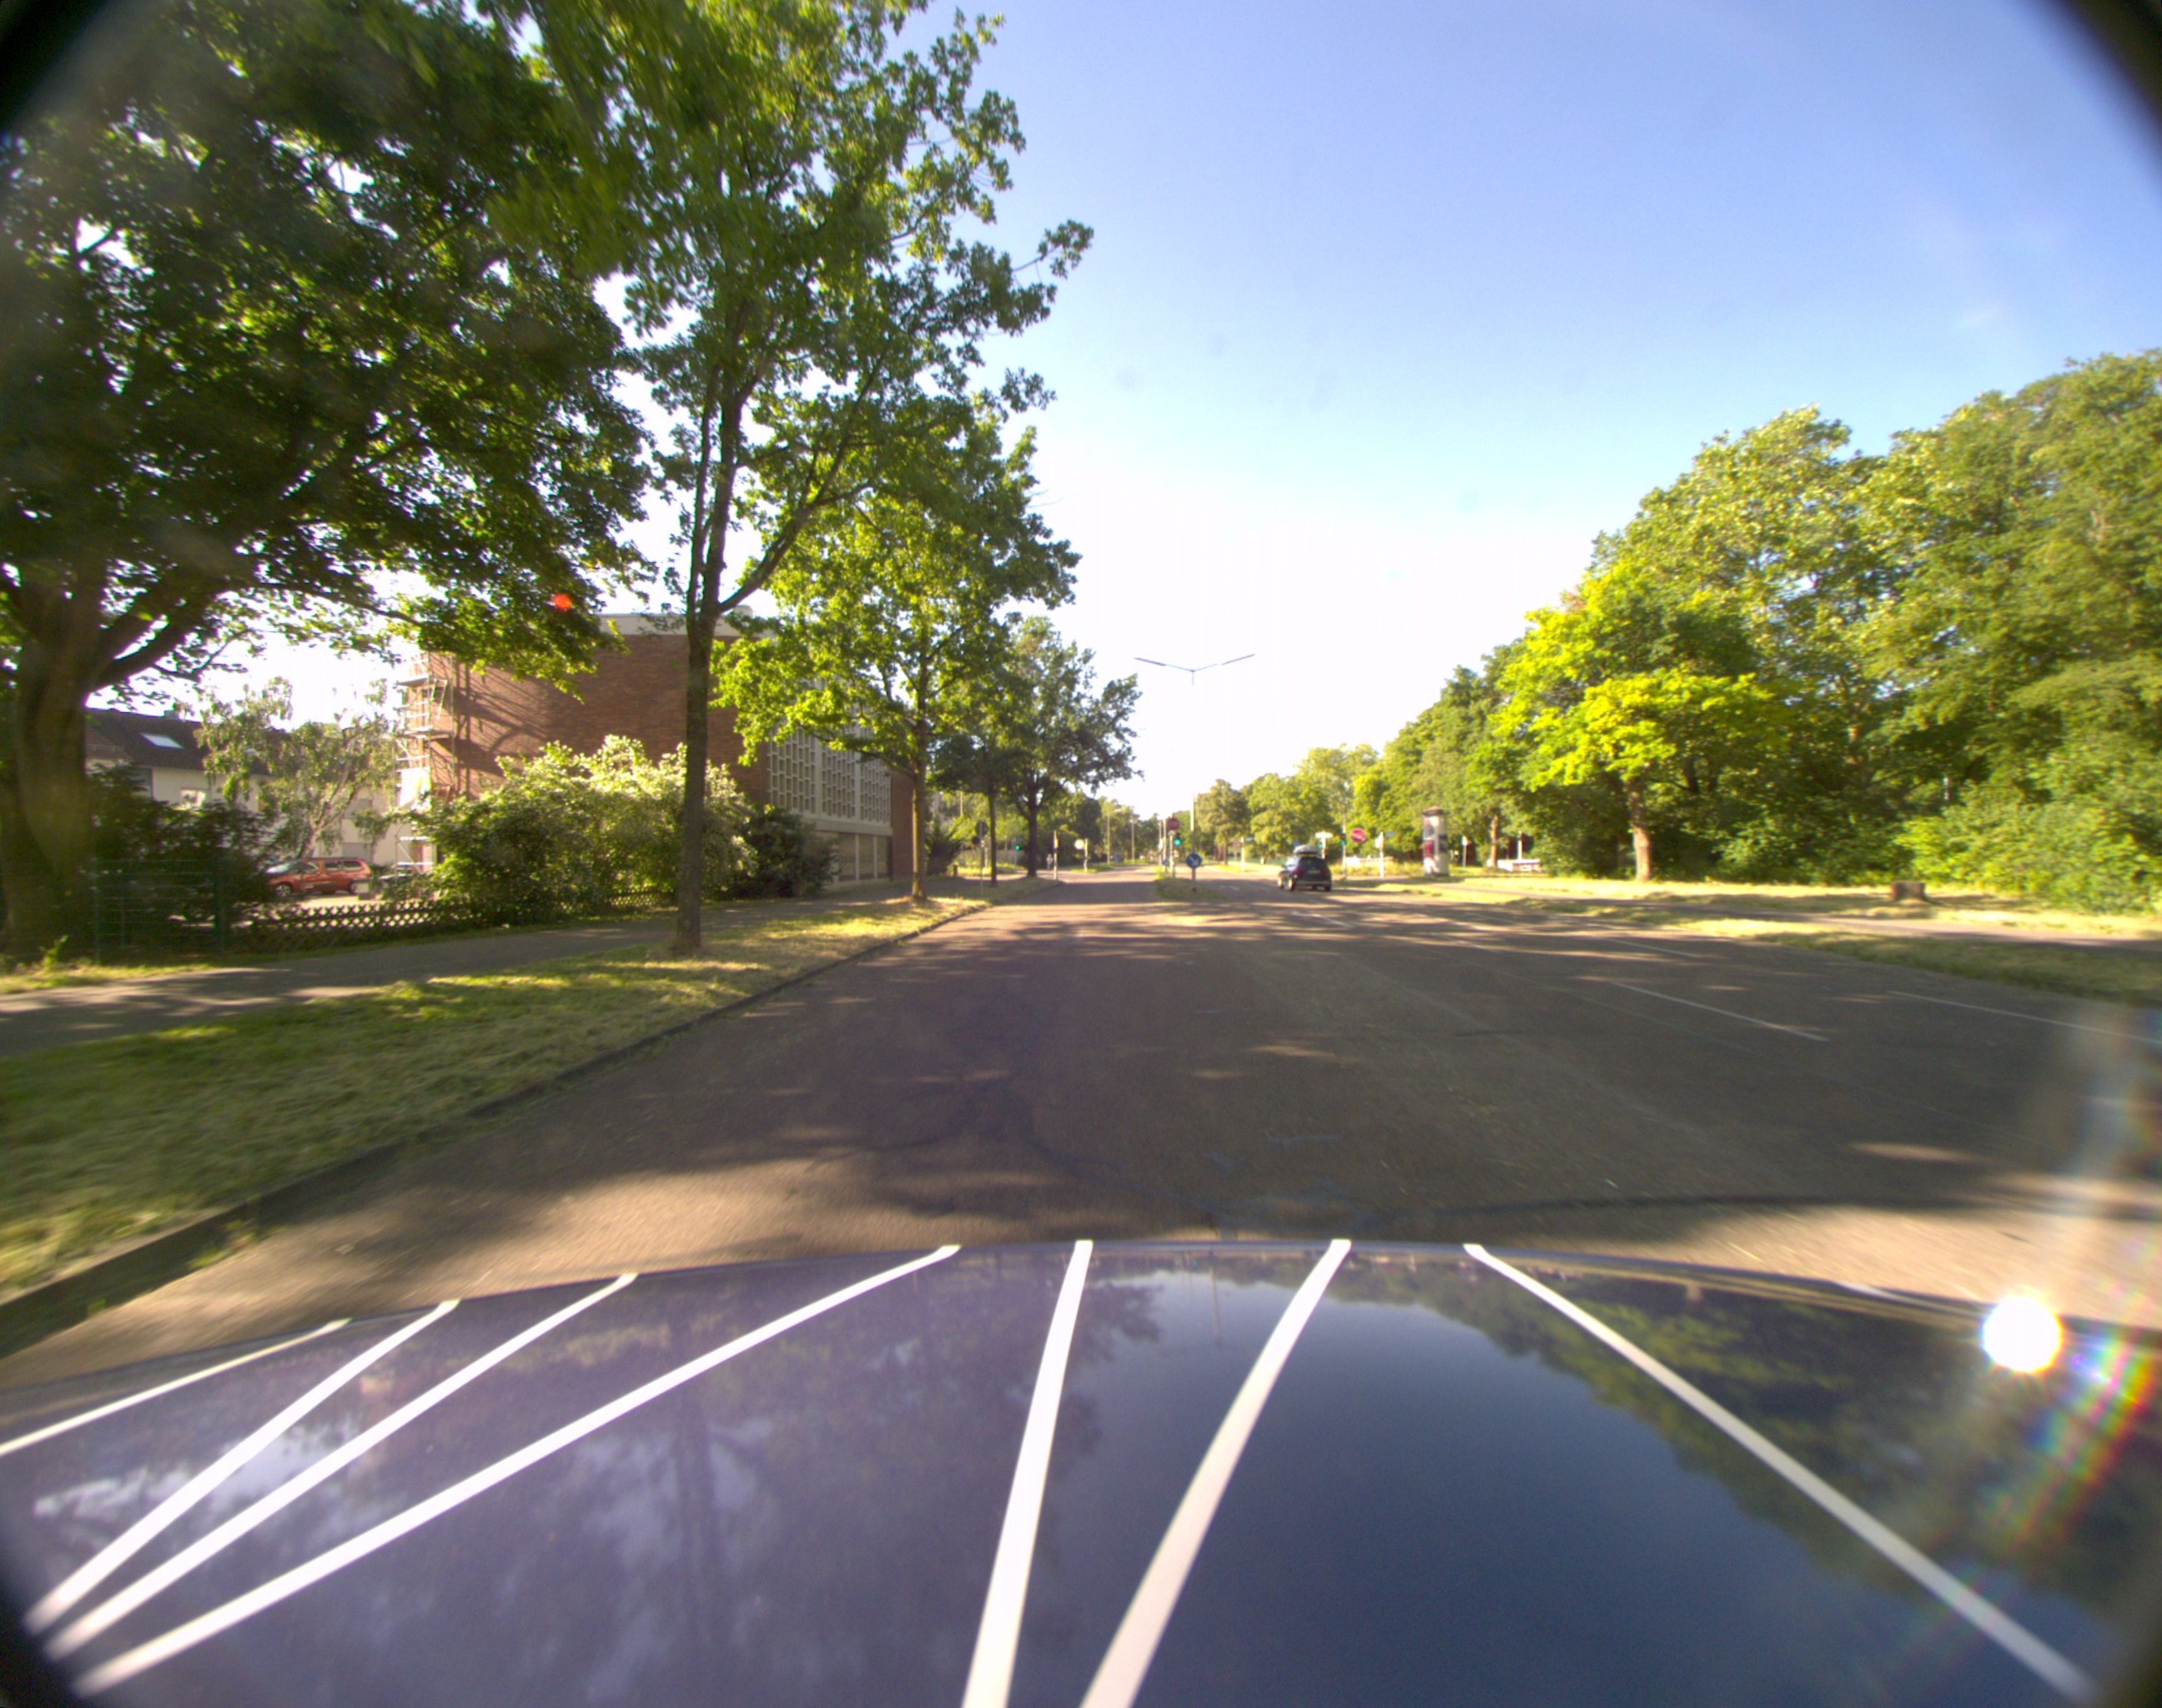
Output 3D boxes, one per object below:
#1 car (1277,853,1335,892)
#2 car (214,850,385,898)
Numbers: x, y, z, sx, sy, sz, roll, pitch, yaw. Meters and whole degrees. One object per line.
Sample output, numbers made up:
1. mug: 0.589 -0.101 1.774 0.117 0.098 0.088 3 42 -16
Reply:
1. car: 10.589 0.837 36.081 1.843 1.698 4.506 0 0 6
2. car: -36.850 0.871 36.113 2.299 2.002 5.266 0 2 8
